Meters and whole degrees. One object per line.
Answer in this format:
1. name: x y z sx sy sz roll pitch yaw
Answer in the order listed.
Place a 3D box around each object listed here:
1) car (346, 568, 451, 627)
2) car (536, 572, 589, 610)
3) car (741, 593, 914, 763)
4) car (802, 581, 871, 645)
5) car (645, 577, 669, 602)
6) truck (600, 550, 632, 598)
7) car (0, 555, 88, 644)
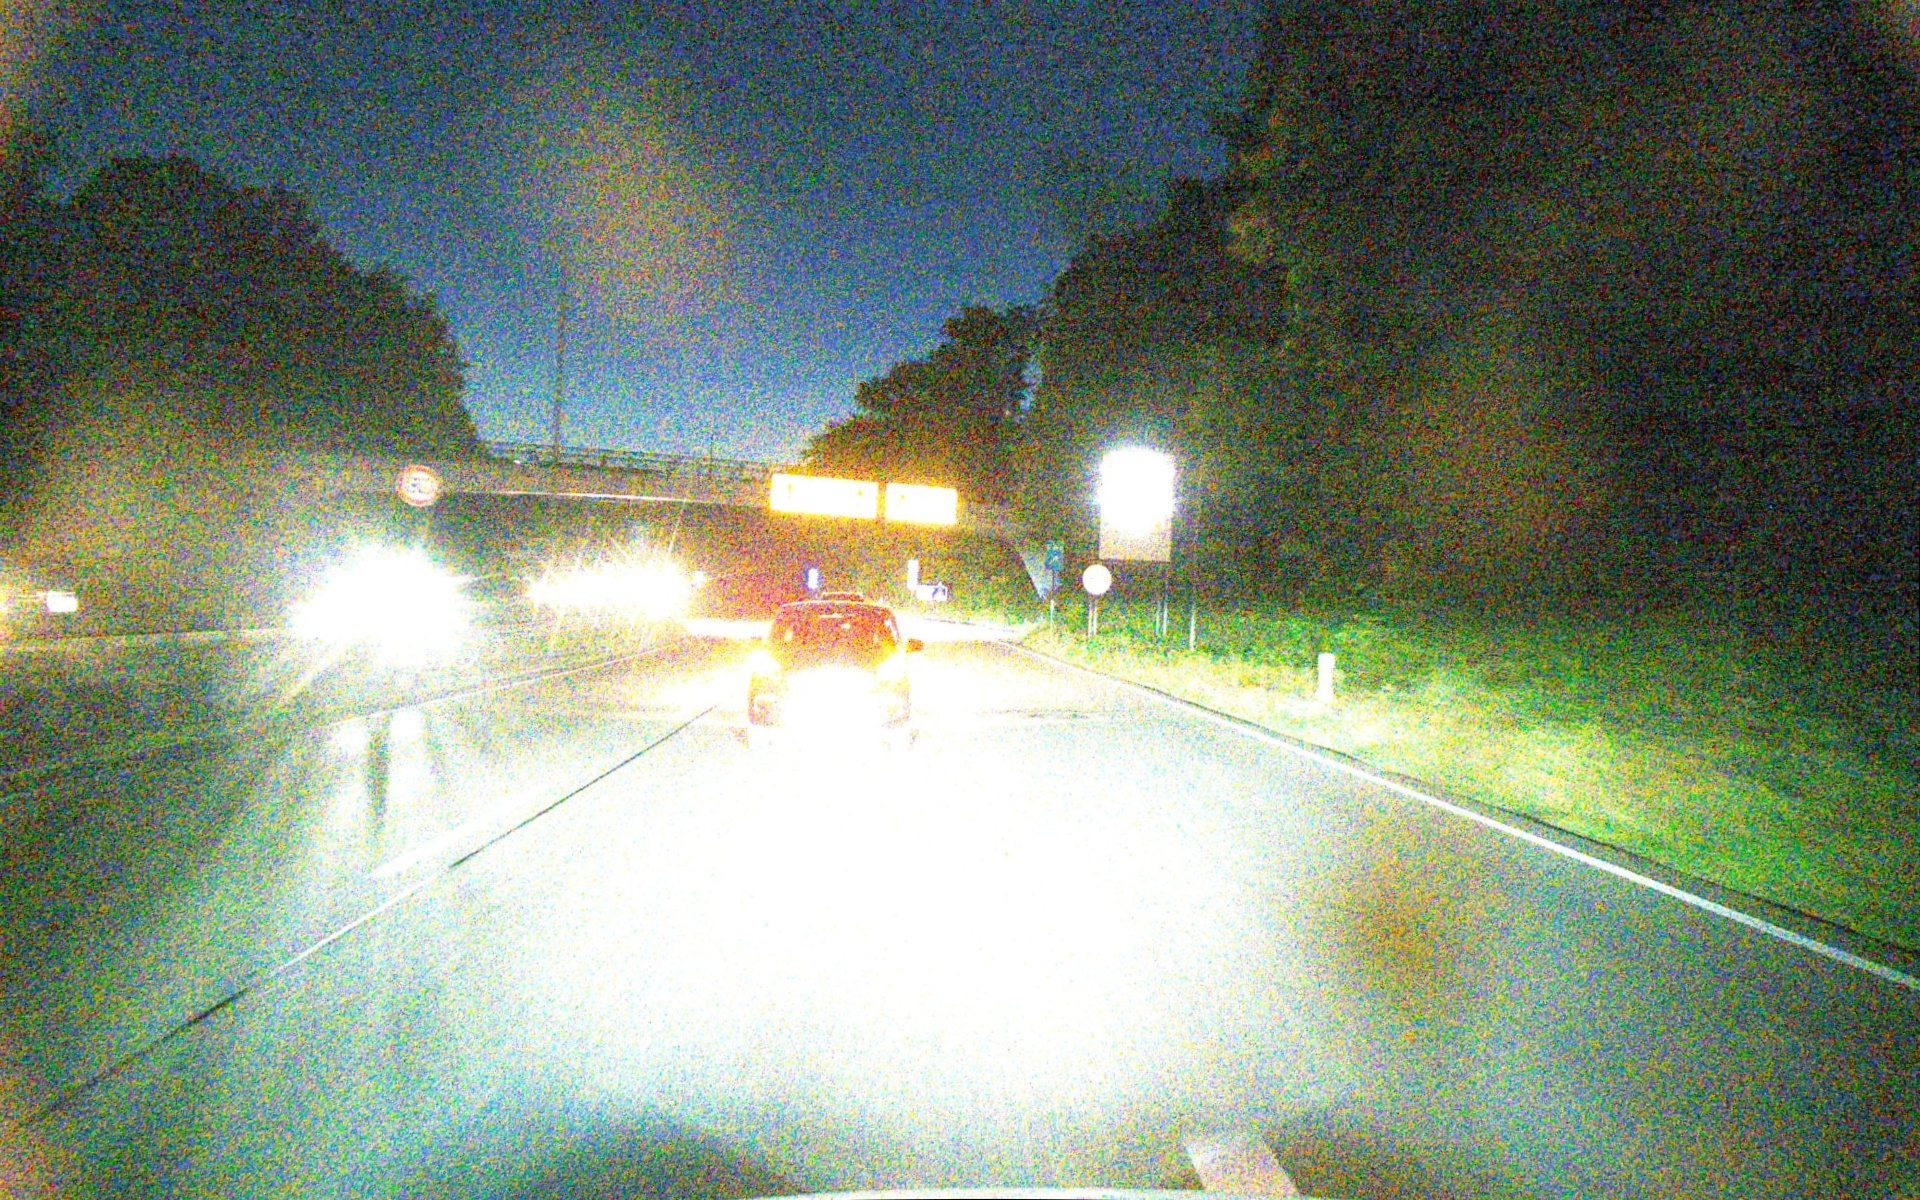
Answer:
1. car: -18.329 -0.087 54.226 1.928 1.794 5.029 2 0 -4
2. car: -22.827 -0.529 95.116 2.317 2.049 5.025 2 0 -7
3. car: -1.344 0.713 17.152 1.557 1.534 3.997 1 0 -4
4. car: -3.659 0.359 49.570 1.869 1.727 3.998 4 0 -3
5. car: -30.741 -1.063 167.920 1.956 2.305 3.993 5 -1 -7
6. truck: -33.408 -2.505 160.621 2.581 4.305 8.568 5 -1 -13
7. car: -17.593 -0.052 29.825 1.694 1.543 4.155 2 0 -4
